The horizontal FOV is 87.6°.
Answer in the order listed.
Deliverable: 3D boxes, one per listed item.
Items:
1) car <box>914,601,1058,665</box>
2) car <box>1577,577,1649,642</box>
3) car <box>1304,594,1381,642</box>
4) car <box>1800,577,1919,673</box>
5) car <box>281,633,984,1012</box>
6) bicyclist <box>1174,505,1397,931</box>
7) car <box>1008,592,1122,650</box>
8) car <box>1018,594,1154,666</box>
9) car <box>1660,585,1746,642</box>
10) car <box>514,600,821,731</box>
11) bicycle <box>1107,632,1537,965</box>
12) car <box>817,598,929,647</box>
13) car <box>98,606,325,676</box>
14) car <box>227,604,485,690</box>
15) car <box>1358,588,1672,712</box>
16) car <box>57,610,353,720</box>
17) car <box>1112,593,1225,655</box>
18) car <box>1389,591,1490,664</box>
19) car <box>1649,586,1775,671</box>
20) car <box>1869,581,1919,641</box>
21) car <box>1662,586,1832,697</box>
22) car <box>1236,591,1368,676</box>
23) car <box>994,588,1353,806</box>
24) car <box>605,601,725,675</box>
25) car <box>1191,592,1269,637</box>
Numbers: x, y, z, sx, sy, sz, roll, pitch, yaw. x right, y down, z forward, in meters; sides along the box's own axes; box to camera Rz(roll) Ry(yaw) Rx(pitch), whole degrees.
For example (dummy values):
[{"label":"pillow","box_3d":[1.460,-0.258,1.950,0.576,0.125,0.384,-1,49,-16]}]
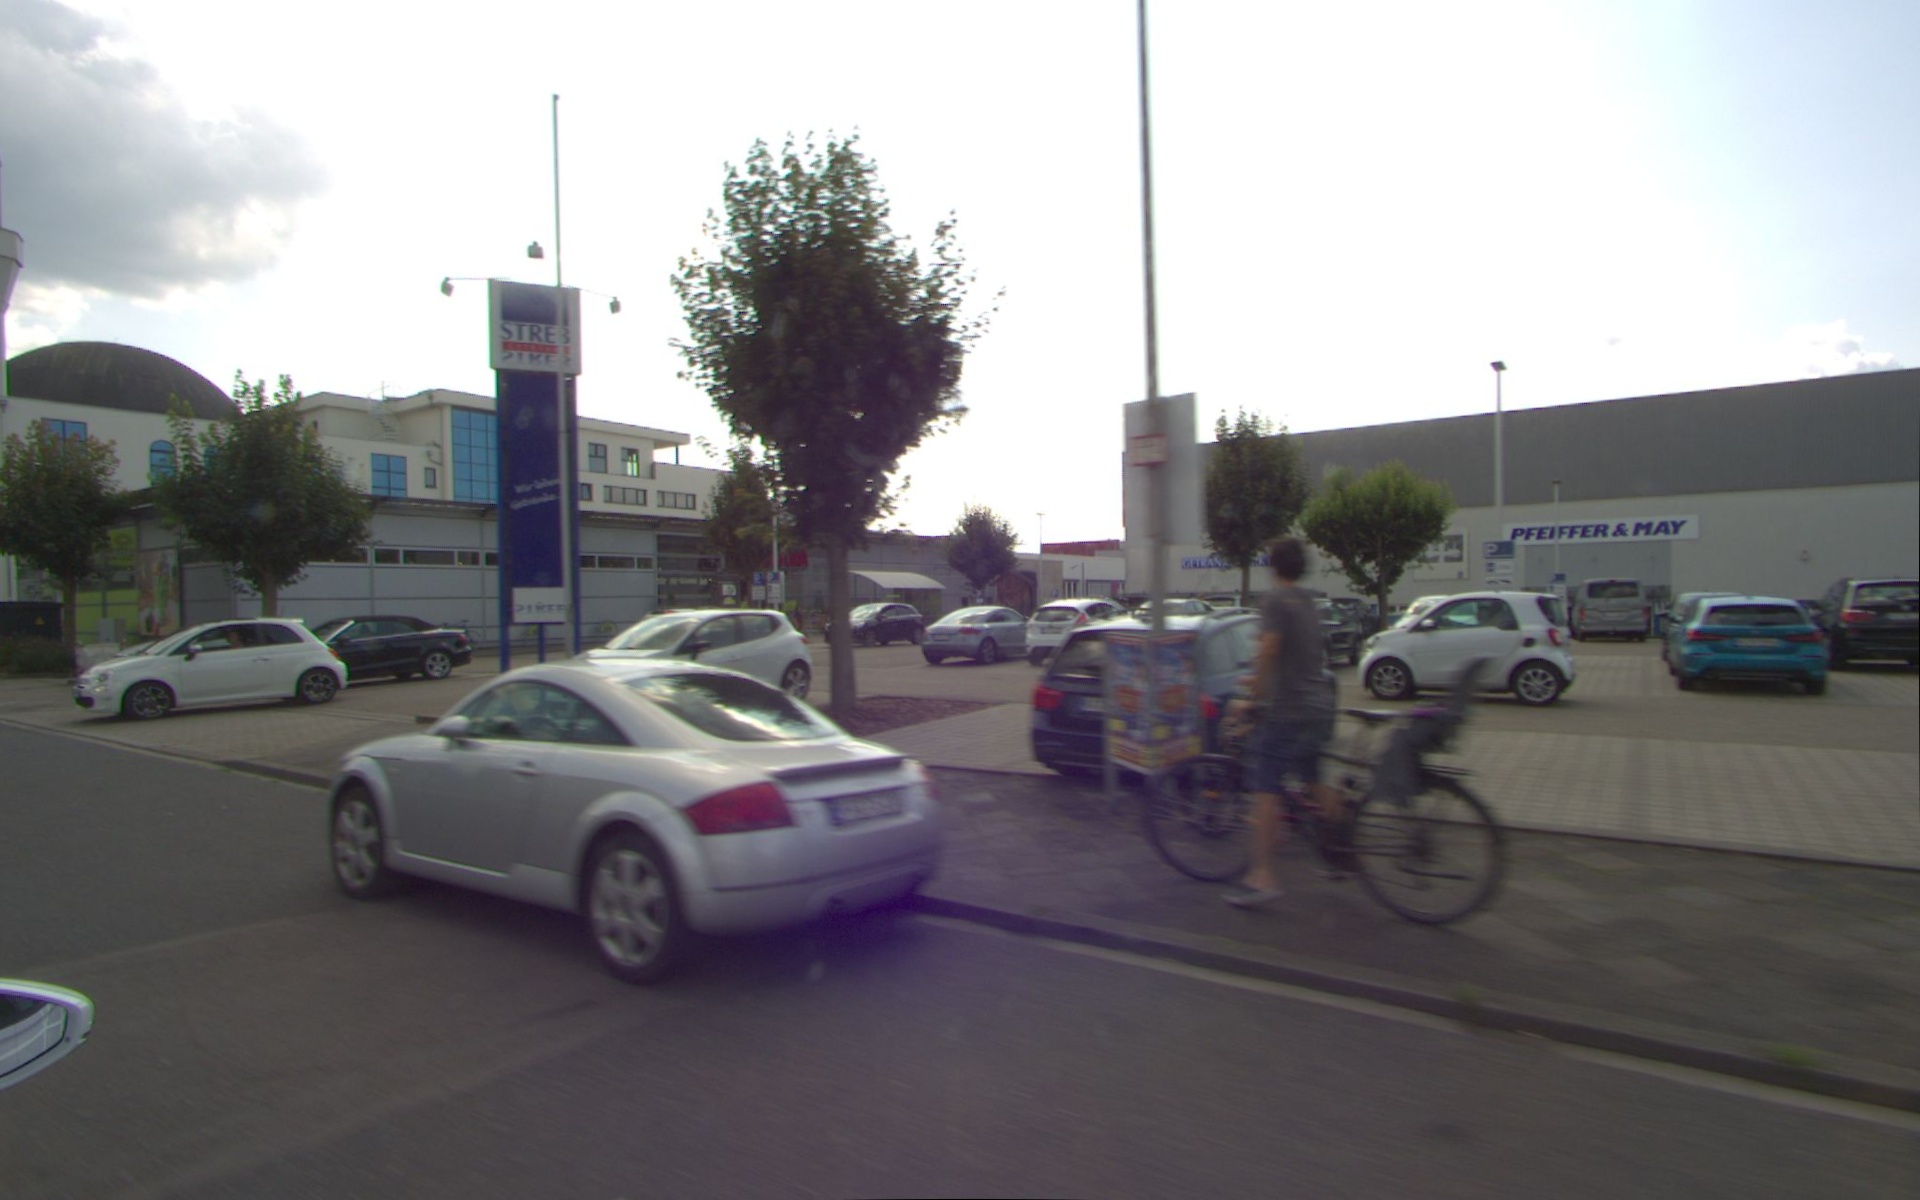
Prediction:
[{"label":"car","box_3d":[0.743,0.764,25.091,1.768,1.356,4.094,0,1,32]},{"label":"car","box_3d":[19.667,0.239,30.258,1.700,1.824,4.055,0,1,32]},{"label":"car","box_3d":[13.318,0.578,34.735,1.731,1.504,4.040,0,1,32]},{"label":"car","box_3d":[17.031,0.389,18.522,1.715,1.599,4.048,0,1,32]},{"label":"car","box_3d":[-1.969,0.917,5.567,3.931,1.357,1.658,0,-3,35]},{"label":"bicyclist","box_3d":[1.662,0.523,5.072,0.818,1.937,0.791,0,4,37]},{"label":"car","box_3d":[3.128,0.559,29.123,1.700,1.504,4.032,0,1,32]},{"label":"car","box_3d":[3.106,0.647,24.004,1.700,1.504,4.049,0,1,32]},{"label":"car","box_3d":[21.497,0.338,29.101,1.700,1.504,3.913,0,1,32]},{"label":"car","box_3d":[-3.924,0.791,14.065,1.771,1.430,3.942,0,2,32]},{"label":"bicycle","box_3d":[1.772,0.856,5.023,1.858,1.313,0.788,-1,4,37]},{"label":"car","box_3d":[-2.883,0.725,34.071,1.700,1.504,4.039,0,1,32]},{"label":"car","box_3d":[-18.535,0.948,24.984,1.961,1.483,4.093,0,1,32]},{"label":"car","box_3d":[-12.238,0.880,20.569,1.780,1.450,4.170,0,1,32]},{"label":"car","box_3d":[7.740,0.637,14.158,3.700,1.539,1.715,0,0,33]},{"label":"car","box_3d":[-12.345,0.971,16.551,1.668,1.490,3.584,0,2,39]},{"label":"car","box_3d":[5.799,0.600,27.513,1.700,1.504,4.108,0,1,32]},{"label":"car","box_3d":[11.317,0.568,23.511,1.700,1.504,4.000,0,1,32]},{"label":"car","box_3d":[15.160,0.506,20.363,1.700,1.504,4.010,0,1,32]},{"label":"car","box_3d":[25.976,0.253,26.838,1.700,1.504,4.021,0,1,32]},{"label":"car","box_3d":[12.421,0.557,16.037,1.716,1.504,3.972,0,1,32]},{"label":"car","box_3d":[7.081,0.597,20.473,1.700,1.504,3.985,0,1,32]},{"label":"car","box_3d":[2.204,0.655,9.223,1.820,1.463,4.296,0,1,33]},{"label":"car","box_3d":[-6.462,0.765,22.409,1.654,1.429,4.386,-1,0,-4]},{"label":"car","box_3d":[10.197,0.504,37.608,1.700,1.504,4.174,0,1,32]}]
